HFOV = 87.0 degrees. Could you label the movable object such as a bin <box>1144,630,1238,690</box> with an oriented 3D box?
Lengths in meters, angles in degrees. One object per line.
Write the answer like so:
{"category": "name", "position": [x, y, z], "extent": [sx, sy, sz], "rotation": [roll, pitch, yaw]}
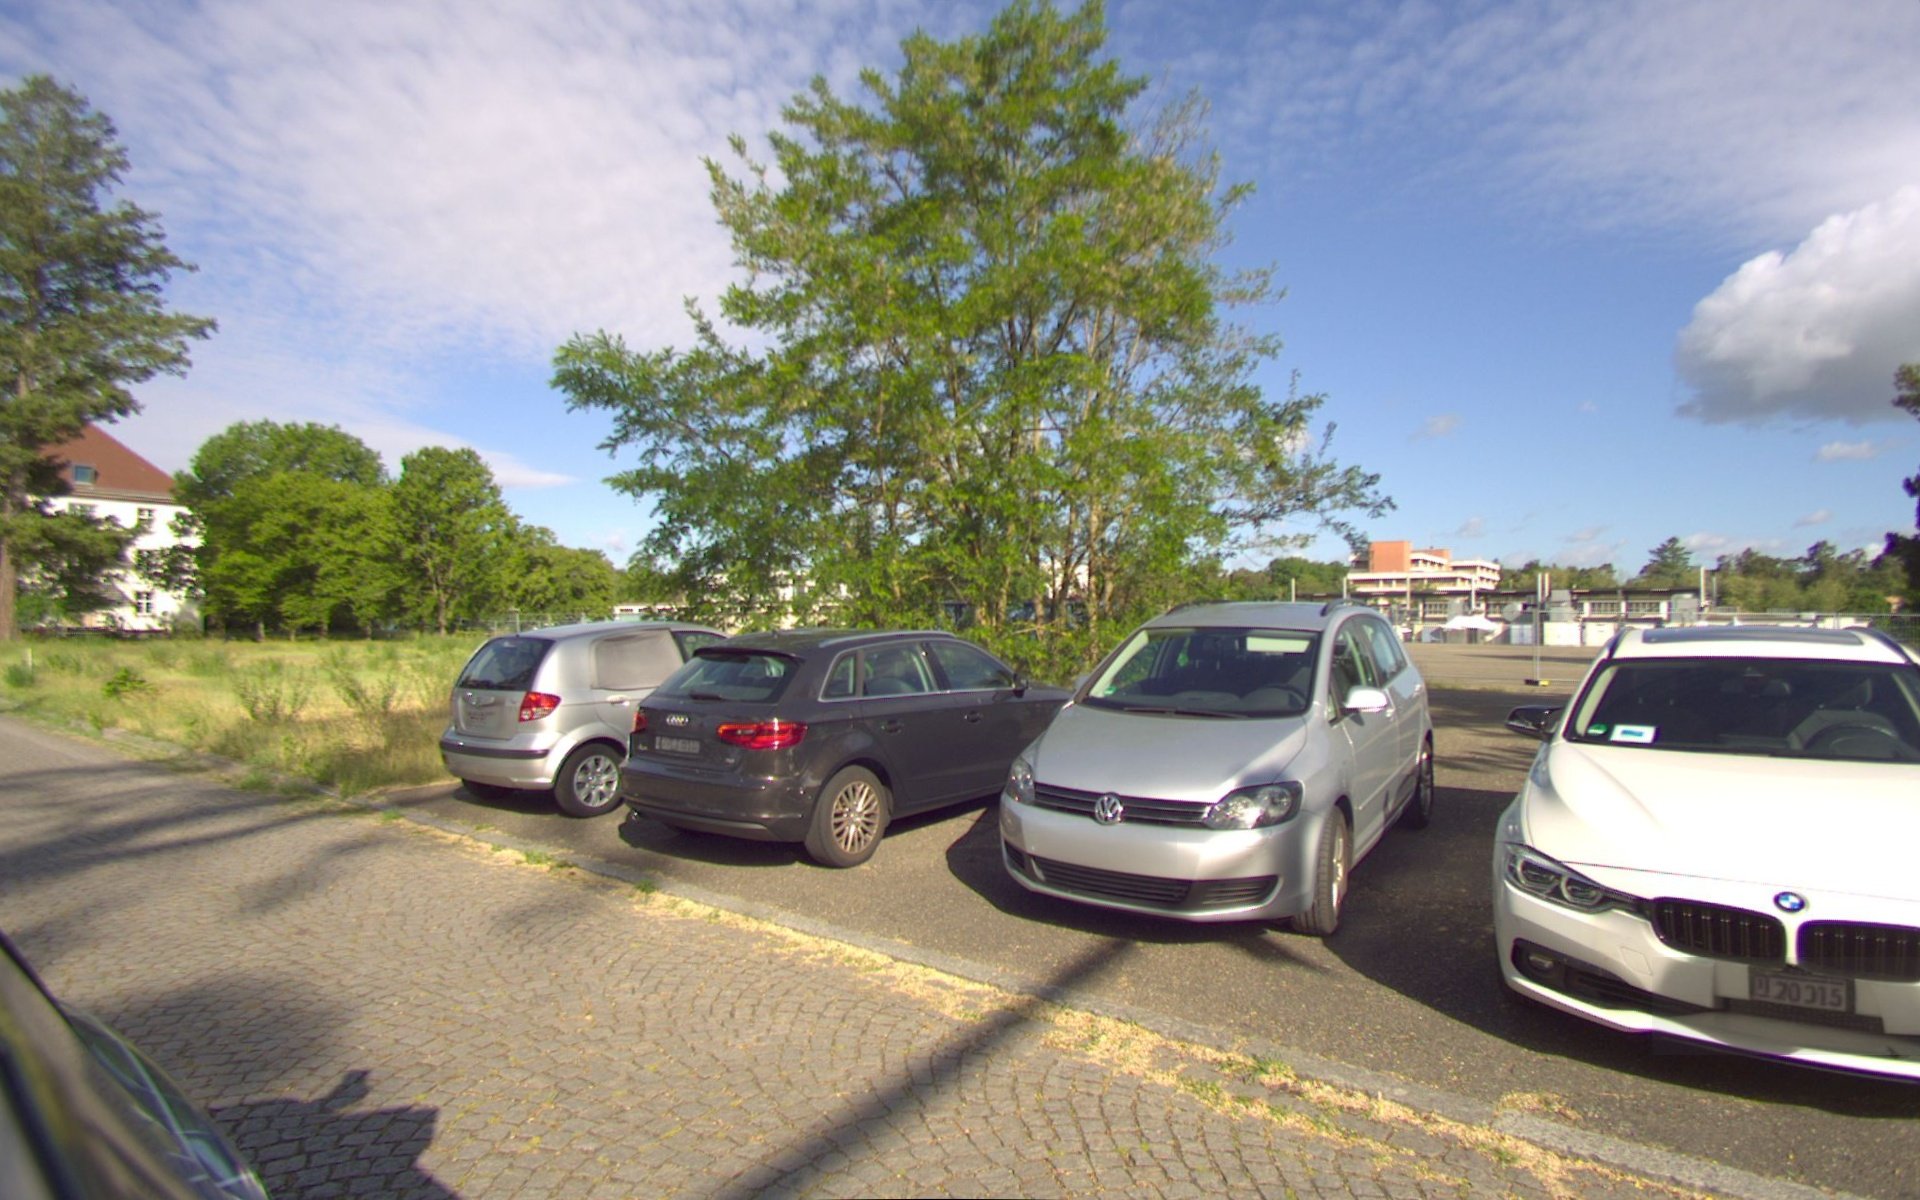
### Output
{"category": "movable object such as a bin", "position": [4.600, 1.156, 20.063], "extent": [0.996, 1.116, 2.257], "rotation": [-1, -2, 37]}

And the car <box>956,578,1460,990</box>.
{"category": "car", "position": [1.791, 0.712, 6.154], "extent": [1.717, 1.638, 3.911], "rotation": [-1, 0, 34]}

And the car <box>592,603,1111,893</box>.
{"category": "car", "position": [-0.561, 0.820, 7.523], "extent": [1.685, 1.482, 3.761], "rotation": [-1, 1, 38]}

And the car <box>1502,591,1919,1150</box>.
{"category": "car", "position": [3.846, 0.744, 4.696], "extent": [1.749, 1.478, 4.501], "rotation": [-2, 0, 36]}

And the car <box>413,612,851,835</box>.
{"category": "car", "position": [-2.752, 0.907, 9.102], "extent": [1.633, 1.482, 3.434], "rotation": [-1, 1, 36]}
